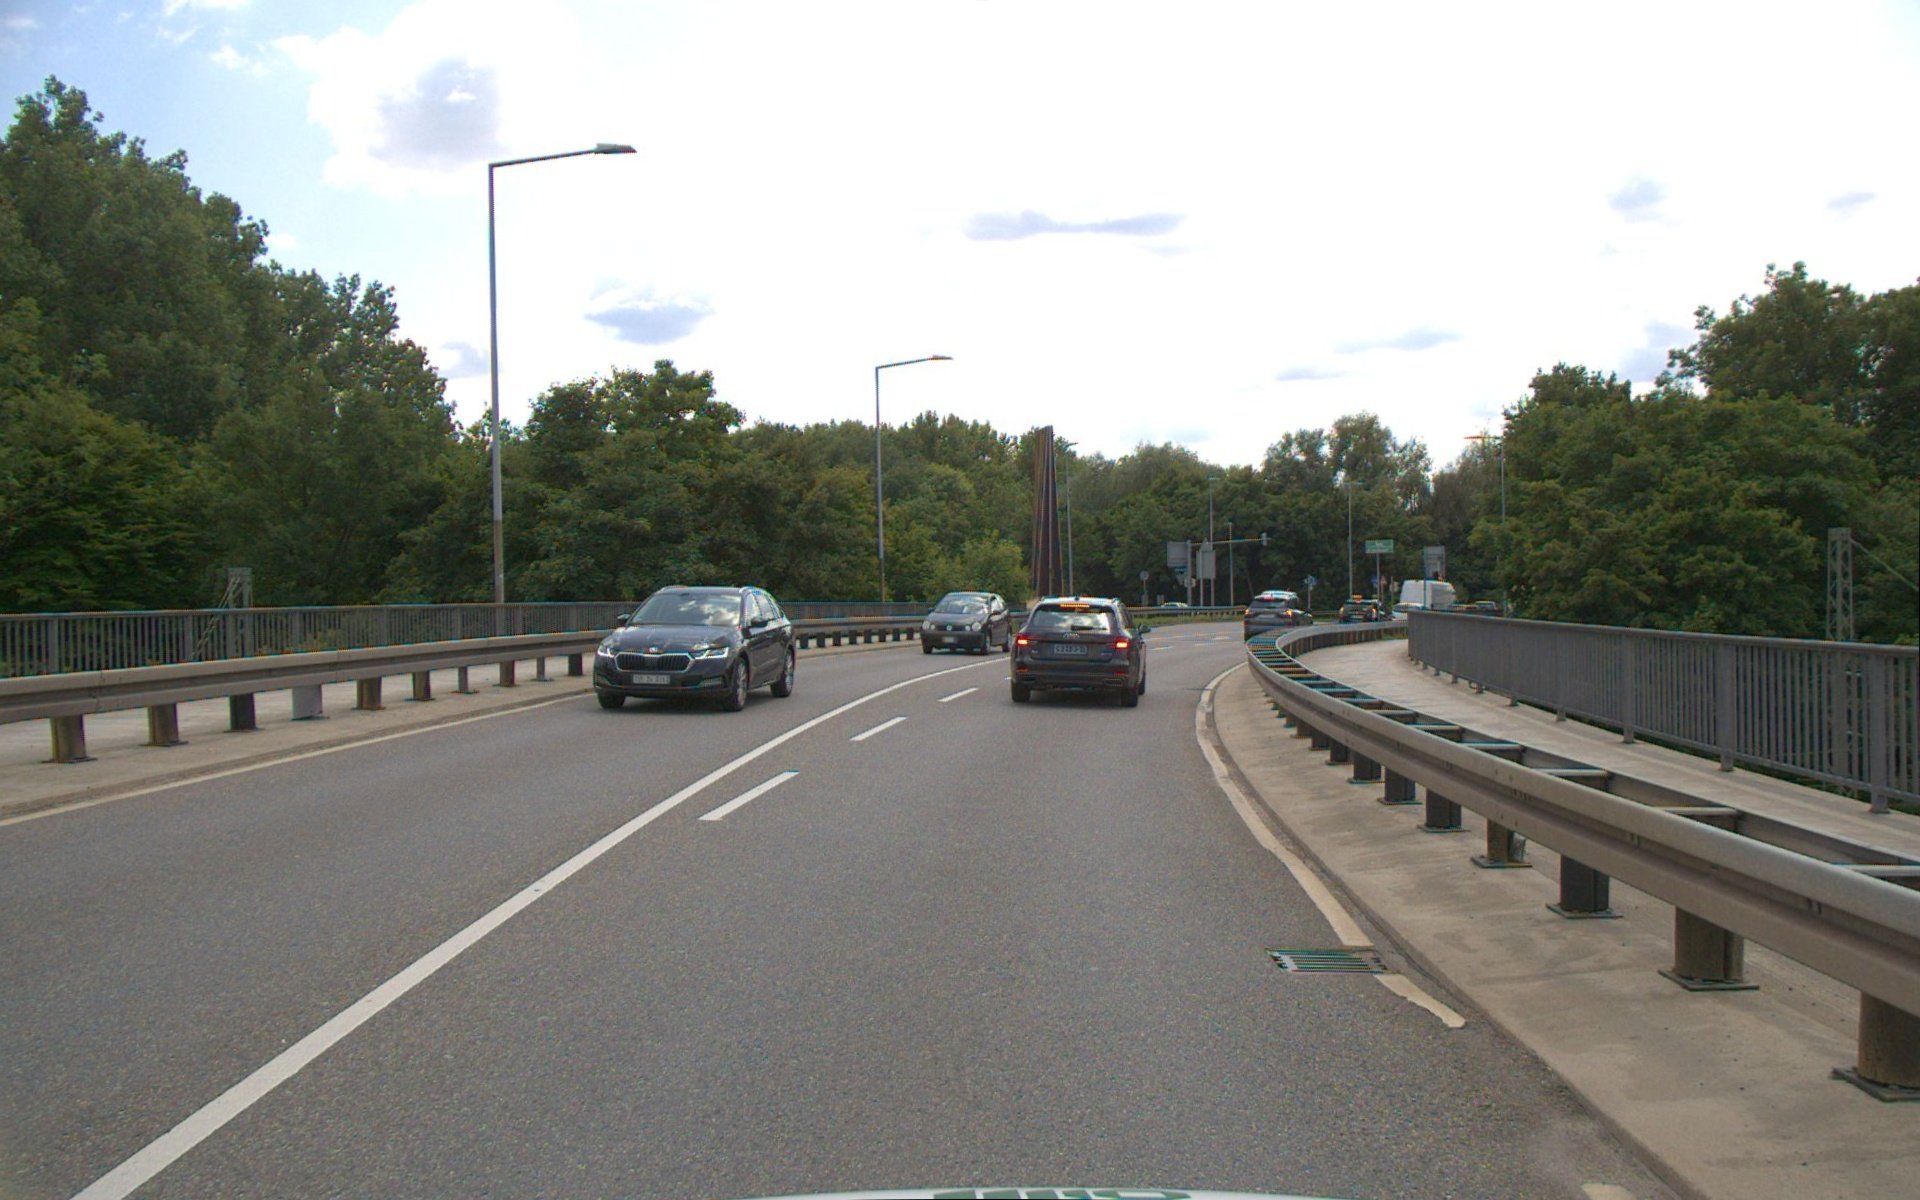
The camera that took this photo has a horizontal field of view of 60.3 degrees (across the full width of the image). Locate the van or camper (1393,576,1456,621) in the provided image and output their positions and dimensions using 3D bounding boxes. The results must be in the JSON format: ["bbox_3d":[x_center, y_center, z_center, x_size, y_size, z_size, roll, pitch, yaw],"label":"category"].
[{"bbox_3d":[26.268,-0.058,93.410,2.230,2.381,5.231,2,0,29],"label":"van or camper"}]

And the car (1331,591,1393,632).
[{"bbox_3d":[17.386,0.496,71.378,1.700,1.680,3.850,1,0,28],"label":"car"}]

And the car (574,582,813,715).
[{"bbox_3d":[-3.276,0.525,21.329,1.778,1.476,4.741,1,1,7],"label":"car"}]

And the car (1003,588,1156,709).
[{"bbox_3d":[1.809,0.621,23.819,1.789,1.517,4.210,1,1,10],"label":"car"}]

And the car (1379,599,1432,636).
[{"bbox_3d":[21.497,0.819,79.779,1.700,1.680,3.851,0,0,27],"label":"car"}]

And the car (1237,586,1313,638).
[{"bbox_3d":[10.965,0.410,57.383,1.785,1.680,3.854,2,1,23],"label":"car"}]

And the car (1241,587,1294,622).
[{"bbox_3d":[16.377,0.251,87.988,1.777,1.784,4.303,2,0,24],"label":"car"}]

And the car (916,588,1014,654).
[{"bbox_3d":[0.175,0.482,40.385,1.776,1.477,3.929,2,0,9],"label":"car"}]
